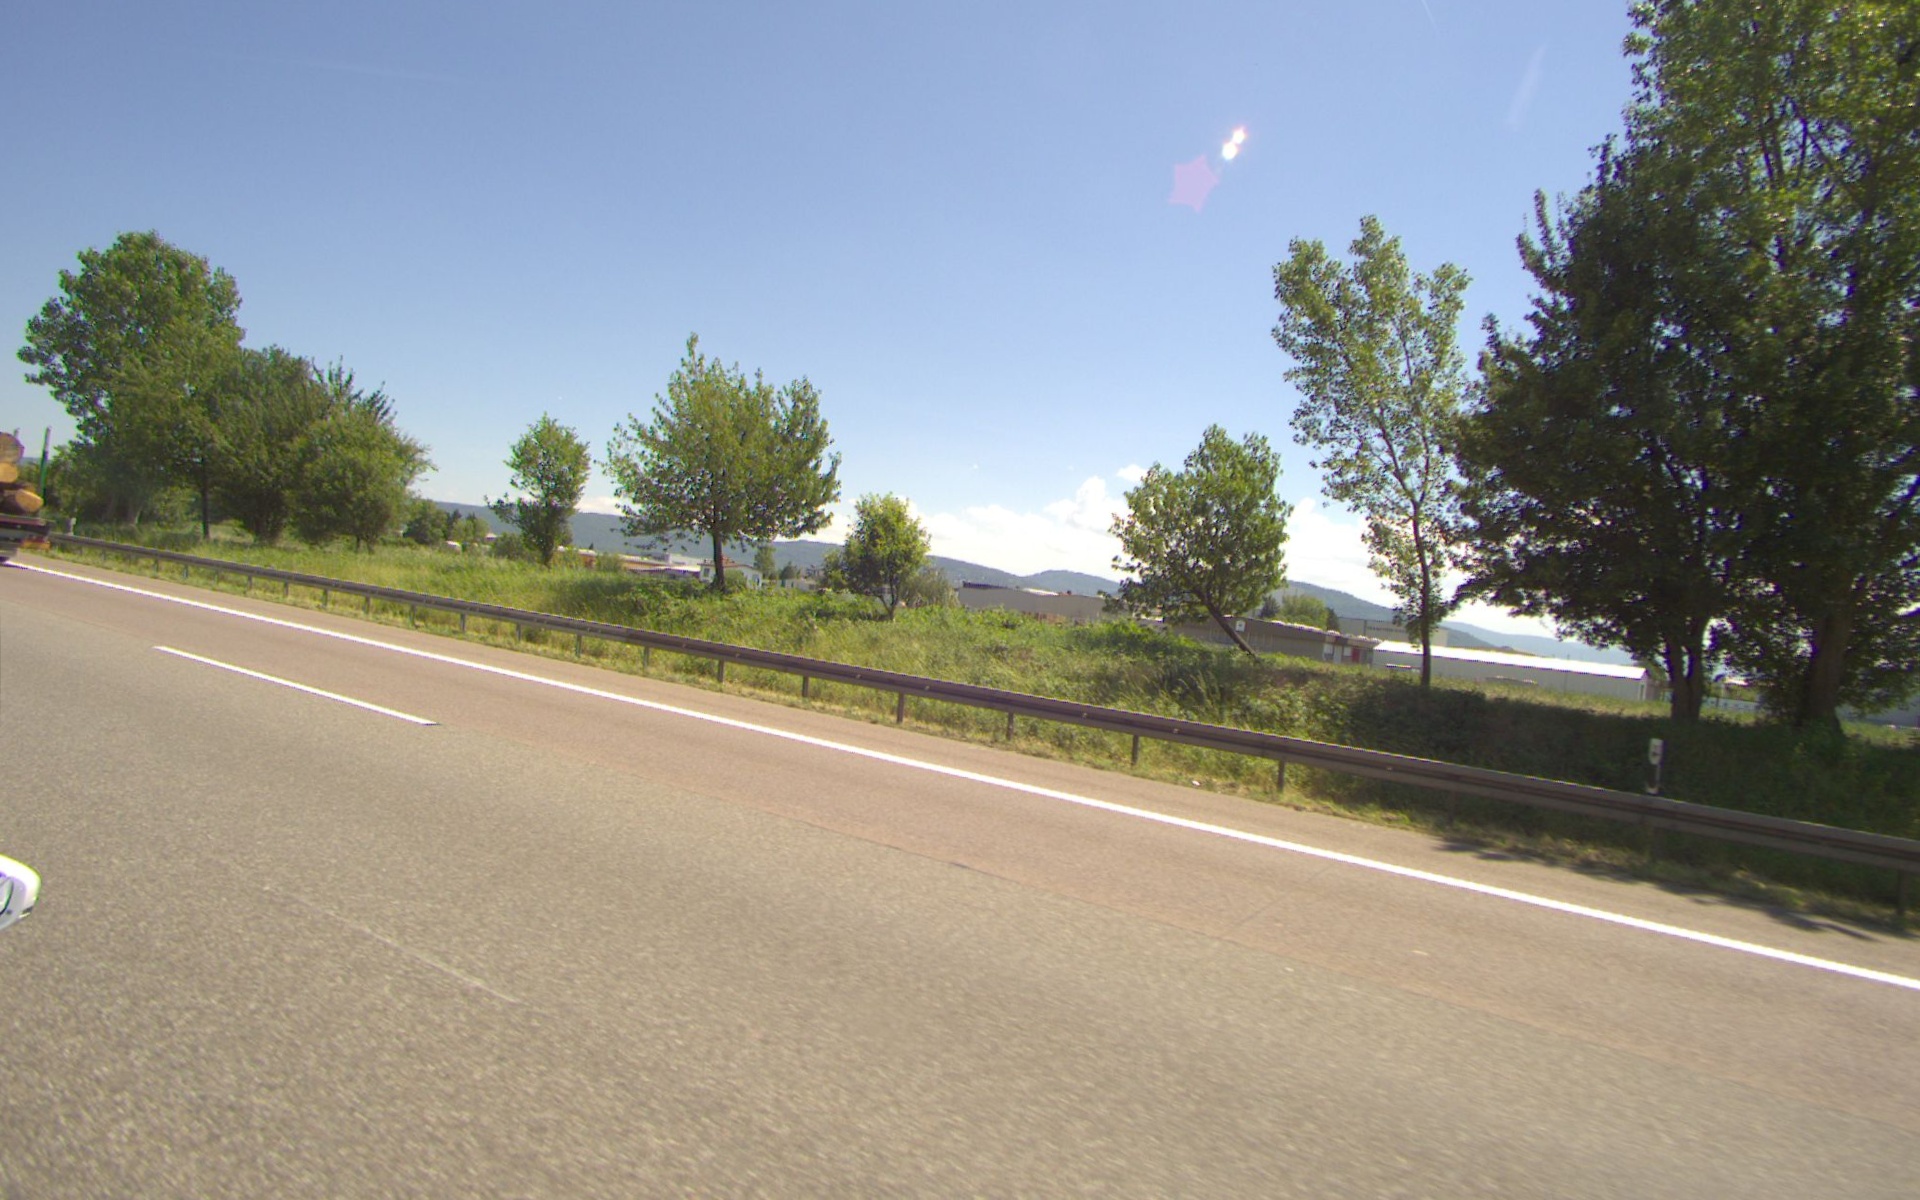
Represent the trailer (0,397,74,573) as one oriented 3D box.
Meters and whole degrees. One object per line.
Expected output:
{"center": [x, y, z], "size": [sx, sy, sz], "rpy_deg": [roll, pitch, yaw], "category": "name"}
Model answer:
{"center": [-28.520, -3.439, 27.268], "size": [13.410, 4.005, 2.658], "rpy_deg": [7, -1, 32], "category": "trailer"}
